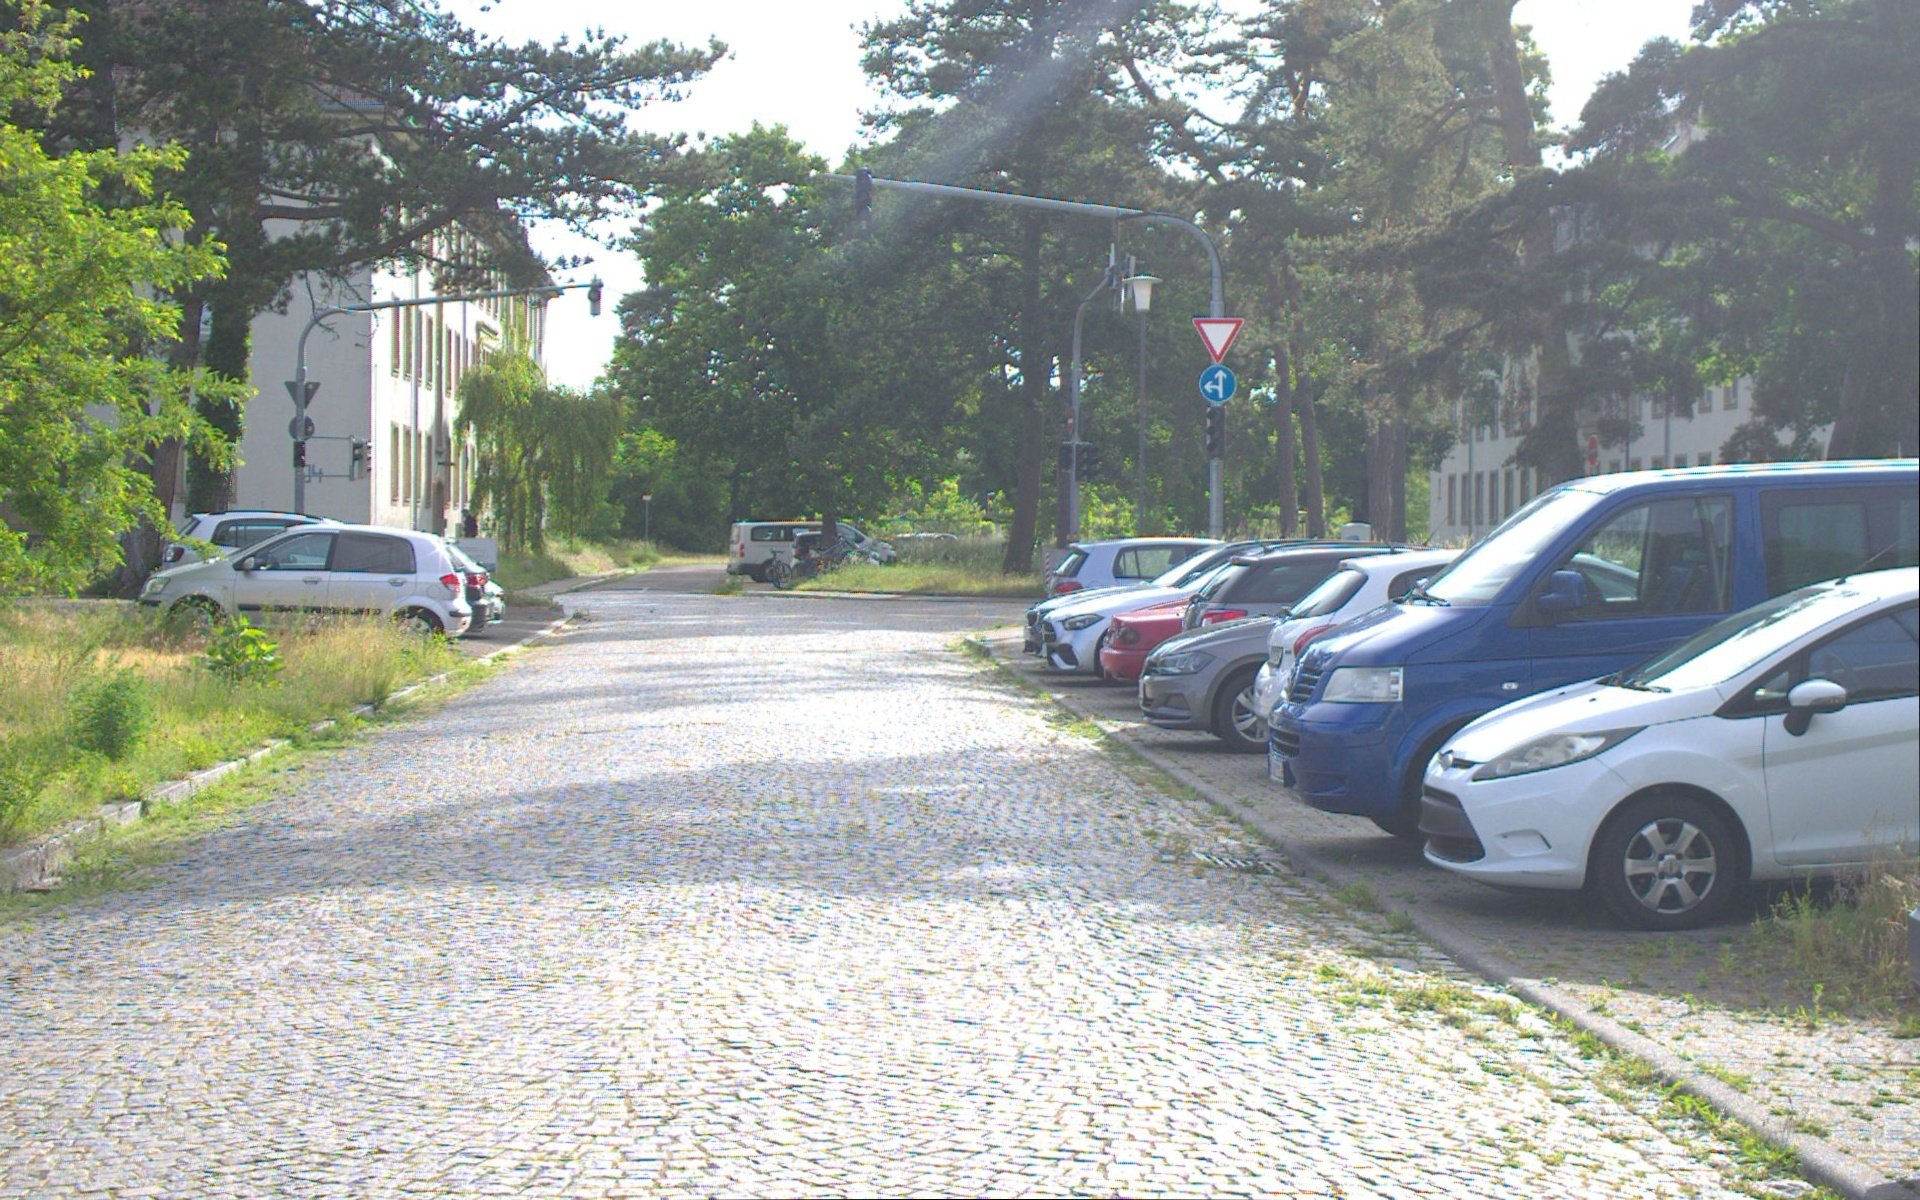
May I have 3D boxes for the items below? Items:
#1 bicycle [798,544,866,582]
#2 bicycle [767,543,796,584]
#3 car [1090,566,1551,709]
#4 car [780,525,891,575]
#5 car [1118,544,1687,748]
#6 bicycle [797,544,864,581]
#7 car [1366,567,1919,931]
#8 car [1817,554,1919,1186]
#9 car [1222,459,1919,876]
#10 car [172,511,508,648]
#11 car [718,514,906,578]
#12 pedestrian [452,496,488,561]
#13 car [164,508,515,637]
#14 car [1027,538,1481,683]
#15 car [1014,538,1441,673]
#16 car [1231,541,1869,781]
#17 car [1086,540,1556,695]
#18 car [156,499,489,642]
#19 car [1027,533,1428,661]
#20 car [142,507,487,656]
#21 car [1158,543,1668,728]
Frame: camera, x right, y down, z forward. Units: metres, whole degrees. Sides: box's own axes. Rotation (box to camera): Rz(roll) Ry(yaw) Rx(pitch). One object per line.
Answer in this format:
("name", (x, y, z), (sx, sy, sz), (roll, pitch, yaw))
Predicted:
("bicycle", (-3.441, -1.002, 92.118), (1.792, 0.995, 0.644), (0, 2, -4))
("bicycle", (-4.605, -0.944, 88.466), (0.728, 0.995, 1.799), (0, 2, -3))
("car", (3.221, 0.318, 31.238), (3.950, 1.256, 1.727), (0, 1, -3))
("car", (-3.784, -1.519, 104.481), (3.031, 1.460, 1.720), (1, 0, -16))
("car", (3.236, 0.316, 25.669), (3.950, 1.462, 1.831), (0, 1, -3))
("bicycle", (-3.501, -1.013, 93.137), (1.792, 0.995, 0.644), (0, 2, -4))
("car", (4.033, 0.588, 14.974), (4.189, 1.465, 1.808), (0, 1, -7))
("car", (4.507, 0.676, 8.633), (4.190, 1.583, 1.878), (0, 1, -4))
("car", (3.838, 0.287, 17.475), (4.732, 1.922, 1.992), (-1, 1, -4))
("car", (-7.622, -0.254, 42.532), (3.828, 1.424, 1.859), (3, 0, -4))
("car", (-4.656, -1.695, 108.007), (5.499, 1.909, 2.255), (1, 1, -17))
("pedestrian", (-14.814, -2.162, 103.909), (0.985, 1.956, 0.933), (1, 0, -4))
("car", (-8.558, -0.400, 47.728), (4.586, 1.450, 1.904), (3, 2, -5))
("car", (3.012, 0.098, 35.880), (4.506, 1.468, 1.850), (0, 1, -3))
("car", (2.965, 0.044, 38.659), (4.505, 1.468, 1.896), (0, 1, -7))
("car", (3.841, 0.379, 22.838), (3.874, 1.525, 1.808), (0, 1, -3))
("car", (3.479, 0.156, 33.630), (4.340, 1.468, 1.740), (0, 1, -3))
("car", (-8.323, -0.388, 45.194), (4.120, 1.594, 1.859), (3, 0, -8))
("car", (3.167, -0.047, 41.297), (4.543, 1.500, 1.933), (0, 1, -5))
("car", (-7.433, -0.222, 39.883), (3.682, 1.468, 1.850), (3, 0, -5))
("car", (3.710, 0.275, 28.619), (3.950, 1.490, 1.772), (0, 1, -3))
